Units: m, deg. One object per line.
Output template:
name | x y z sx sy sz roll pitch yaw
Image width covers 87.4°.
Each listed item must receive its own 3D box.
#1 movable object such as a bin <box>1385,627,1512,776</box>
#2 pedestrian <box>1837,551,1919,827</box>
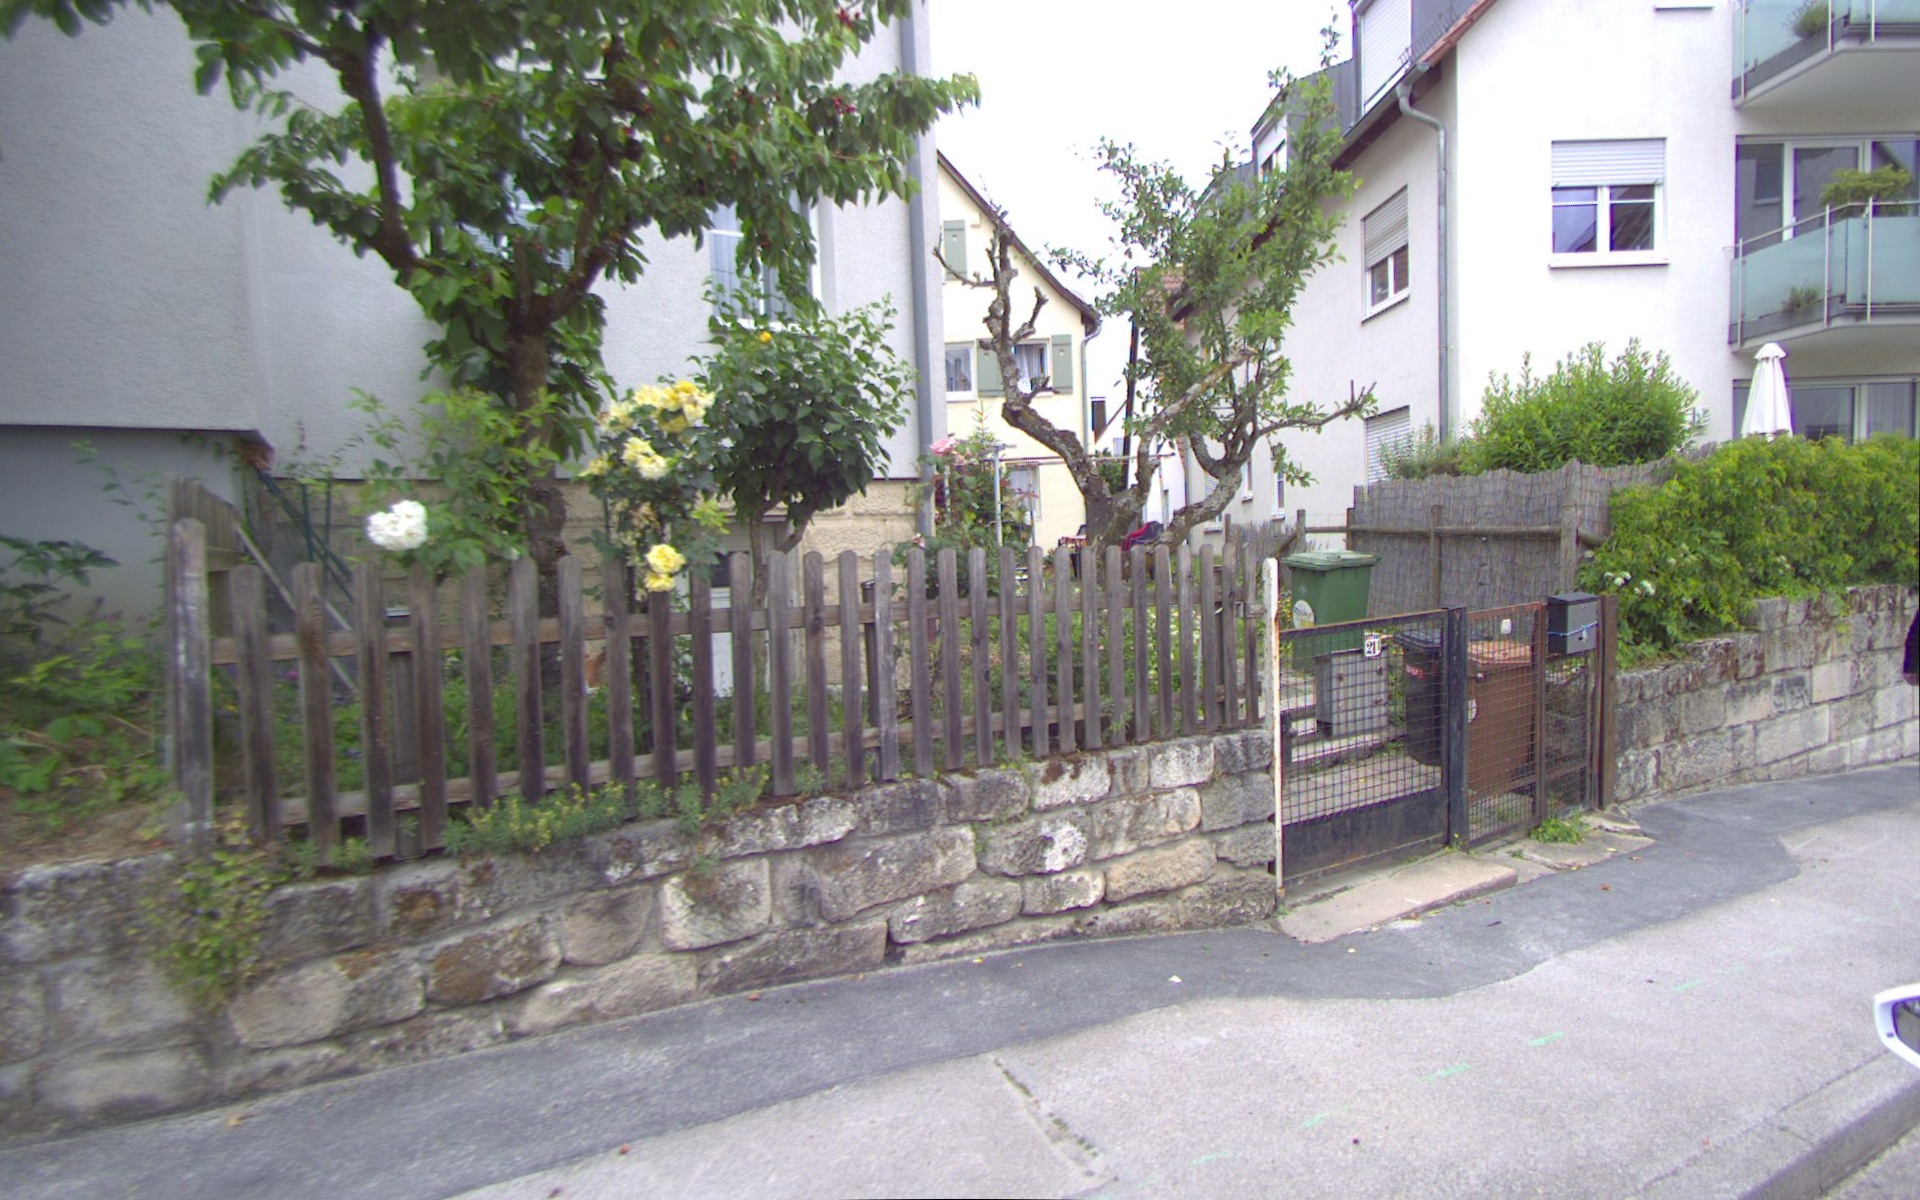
movable object such as a bin | 3.424 0.697 7.083 0.591 0.945 0.591 -1 5 0
pedestrian | 6.426 0.572 6.436 0.965 1.700 0.836 1 4 -30
